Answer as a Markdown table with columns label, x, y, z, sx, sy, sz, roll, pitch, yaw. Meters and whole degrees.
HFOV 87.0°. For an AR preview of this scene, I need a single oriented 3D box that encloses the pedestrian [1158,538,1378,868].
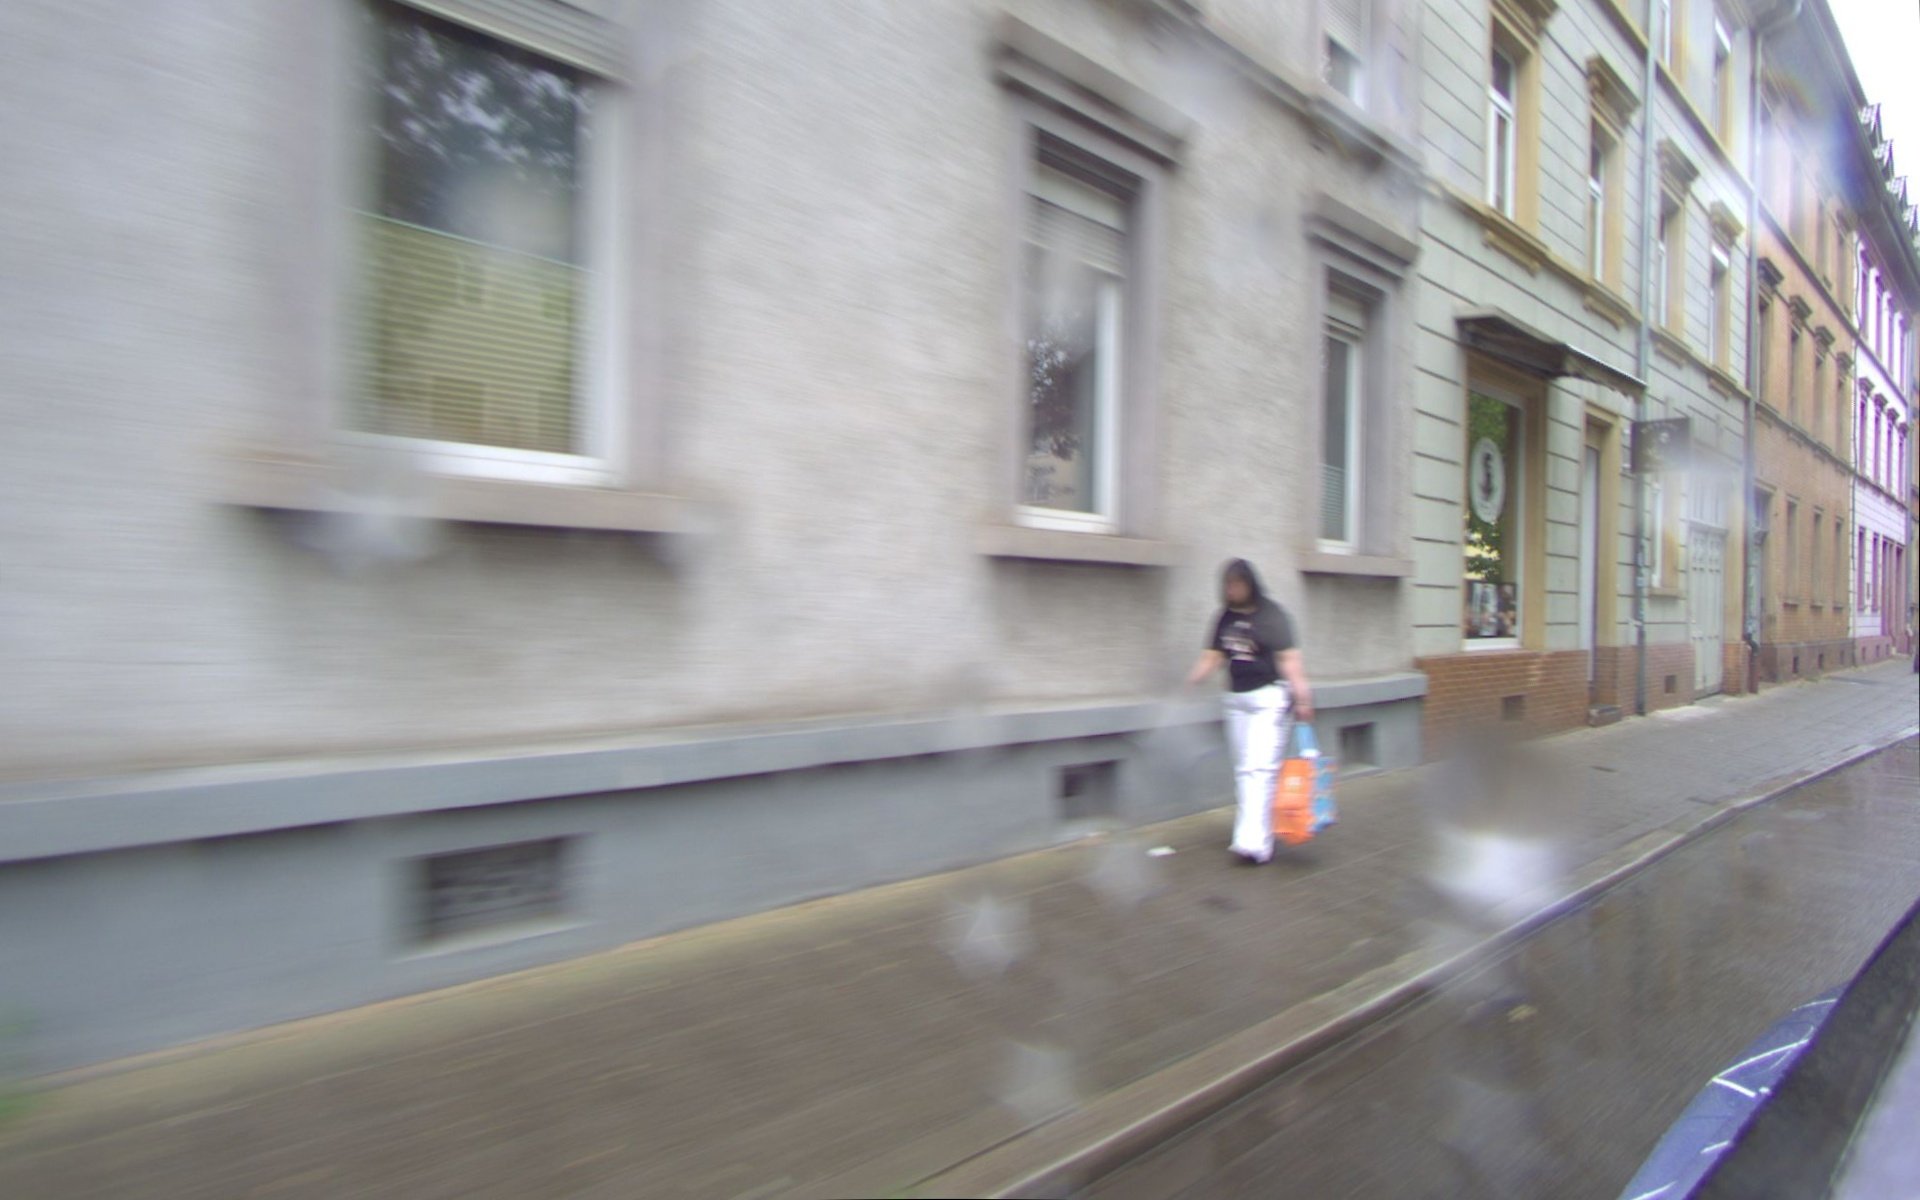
| label | x | y | z | sx | sy | sz | roll | pitch | yaw |
| --- | --- | --- | --- | --- | --- | --- | --- | --- | --- |
| pedestrian | 1.652 | 0.498 | 5.491 | 0.566 | 1.592 | 0.849 | 1 | 4 | -41 |
